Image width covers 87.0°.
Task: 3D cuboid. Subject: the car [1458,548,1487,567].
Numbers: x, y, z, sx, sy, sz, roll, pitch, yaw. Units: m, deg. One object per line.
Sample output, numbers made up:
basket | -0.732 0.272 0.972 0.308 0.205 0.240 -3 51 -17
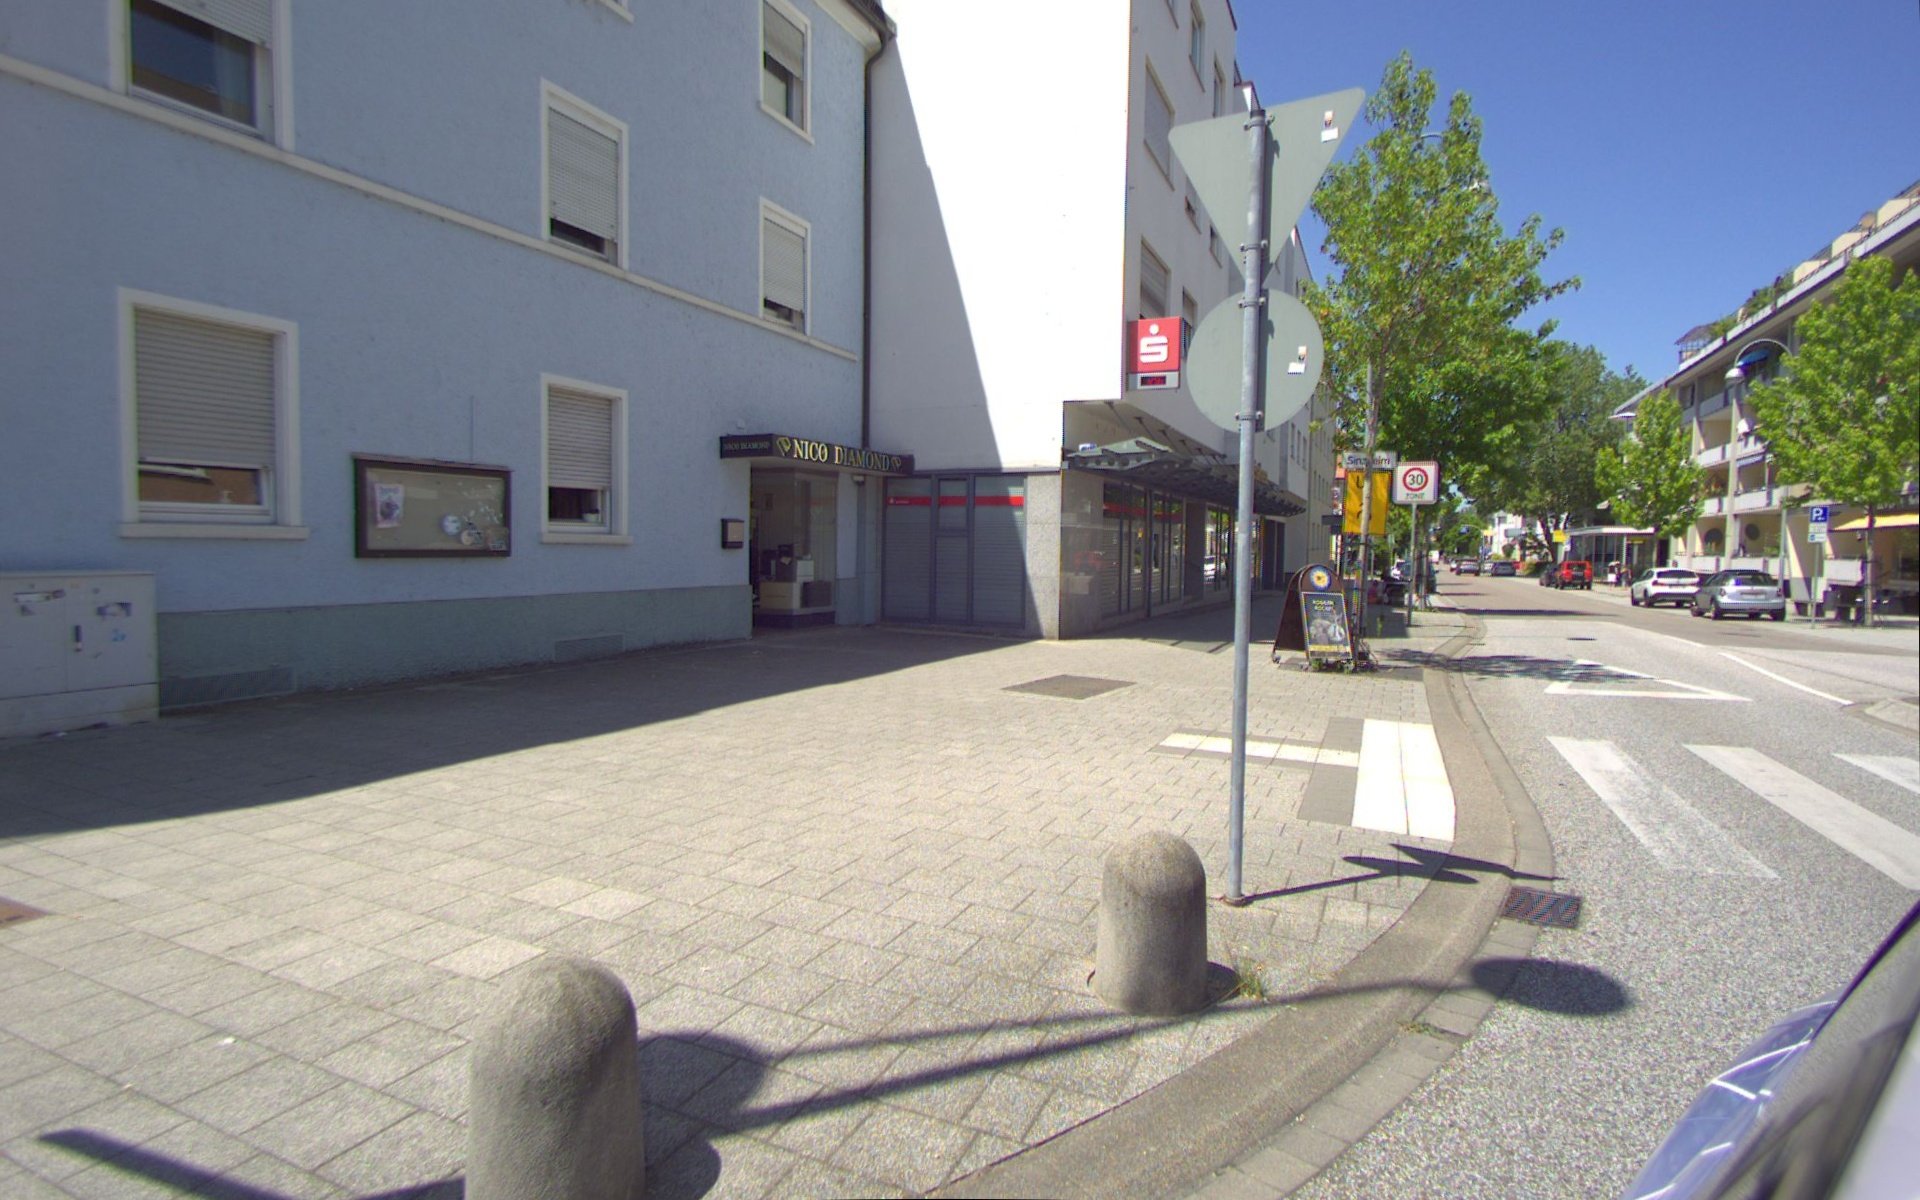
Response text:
car | 49.439 -4.115 97.675 1.884 1.775 4.725 3 3 21

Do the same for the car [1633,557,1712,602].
car | 27.517 -0.846 39.230 1.683 1.611 4.265 2 3 24

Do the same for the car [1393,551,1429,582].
car | 26.030 -1.964 58.550 1.674 1.743 4.106 2 3 21

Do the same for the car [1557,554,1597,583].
car | 36.887 -1.909 60.541 1.628 1.682 3.343 0 2 24

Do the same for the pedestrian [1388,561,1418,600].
pedestrian | 14.715 -0.652 33.616 0.759 1.255 0.530 4 4 39

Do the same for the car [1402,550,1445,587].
car | 24.162 -1.670 52.864 1.674 1.742 3.974 5 4 21

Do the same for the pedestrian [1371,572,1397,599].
pedestrian | 14.381 -0.503 34.346 0.676 0.862 0.531 4 4 38

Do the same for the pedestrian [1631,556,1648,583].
pedestrian | 39.467 -1.764 58.770 0.775 1.517 0.688 3 3 36

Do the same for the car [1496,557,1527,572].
car | 53.275 -3.442 97.830 1.975 1.437 3.976 2 3 20

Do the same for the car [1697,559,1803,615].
car | 23.098 -0.445 29.736 1.610 1.491 3.520 2 3 24

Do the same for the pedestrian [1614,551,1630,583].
pedestrian | 38.519 -1.925 58.858 0.665 1.826 0.676 3 3 39

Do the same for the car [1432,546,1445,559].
car | 96.433 -9.530 204.039 2.210 2.496 5.207 2 3 24

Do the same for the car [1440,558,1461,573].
car | 57.721 -4.091 119.150 1.756 1.652 4.272 1 3 21
